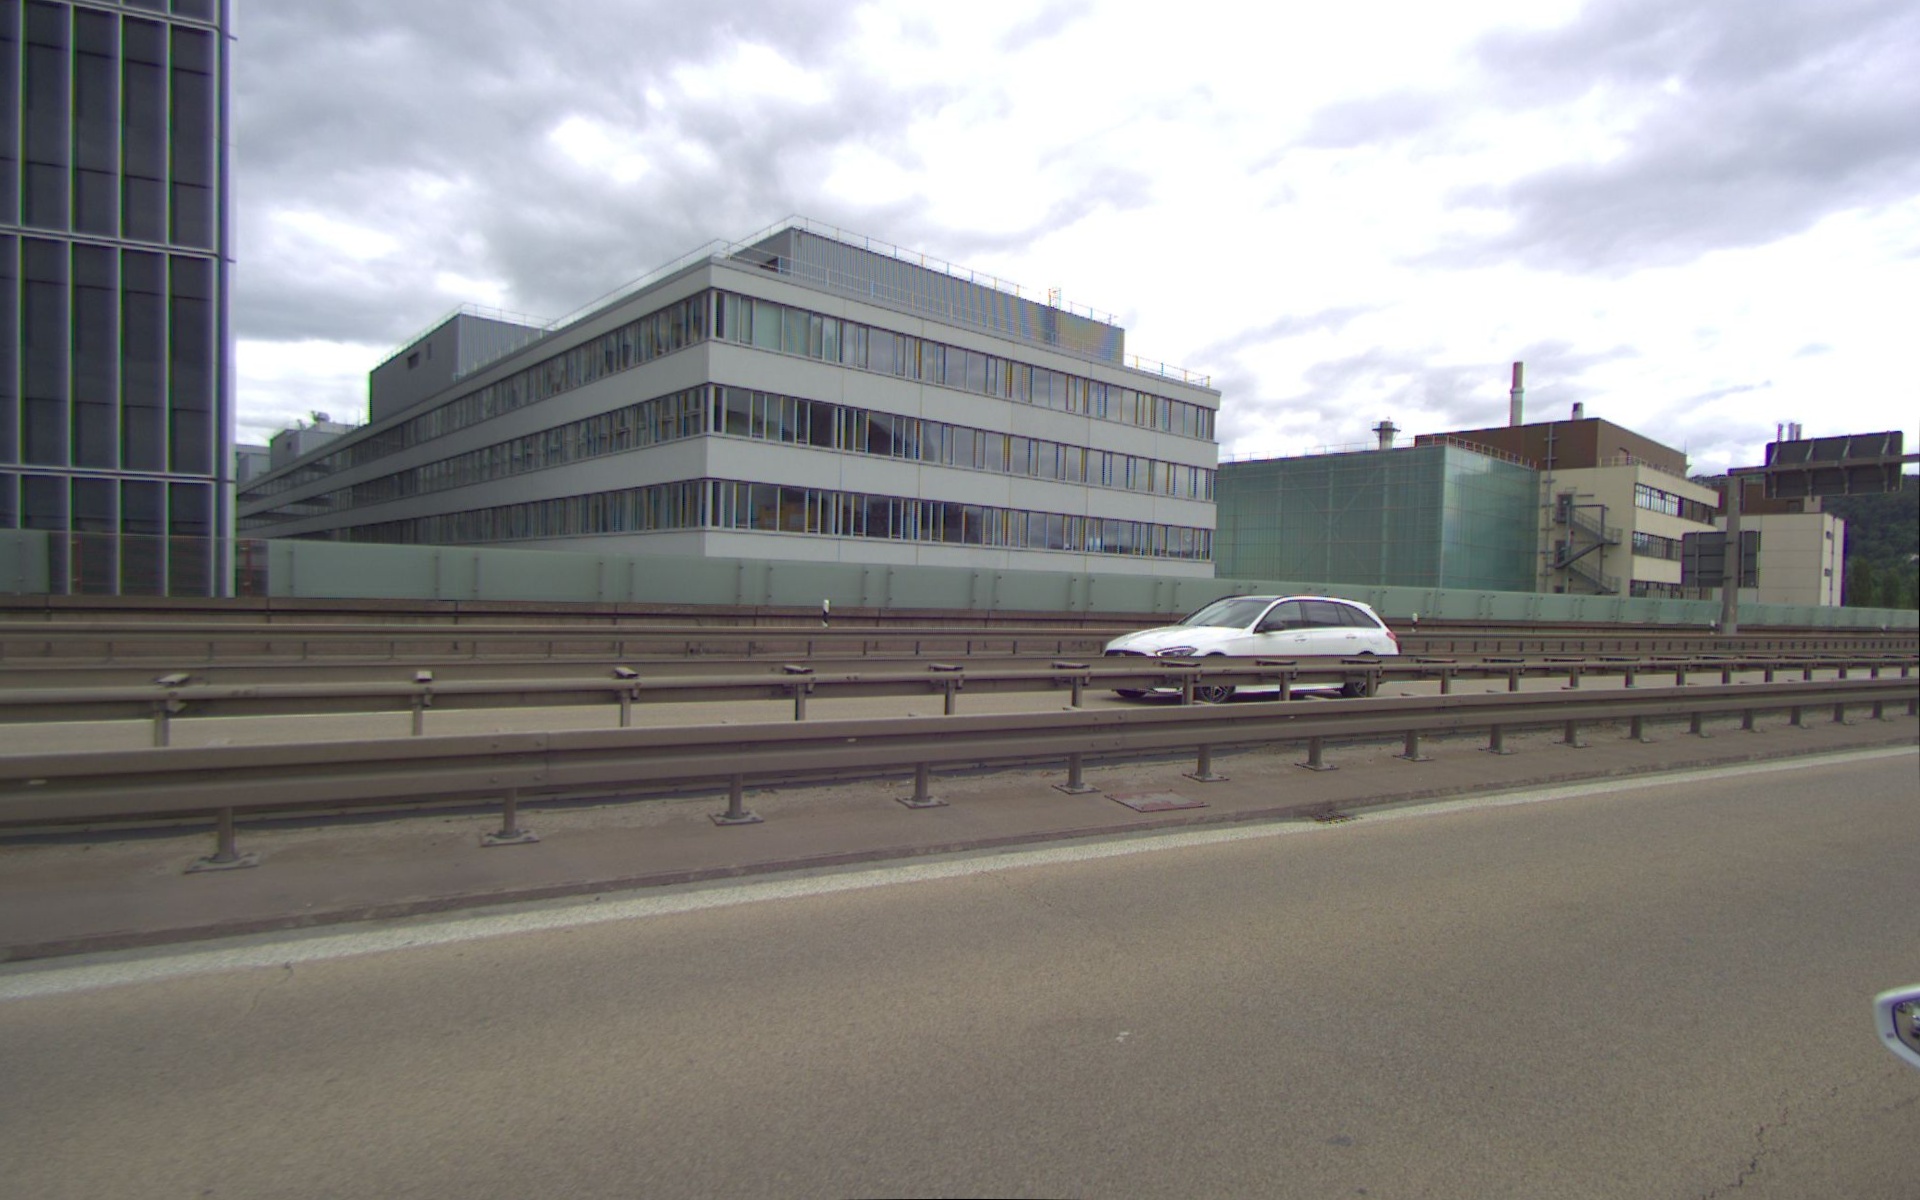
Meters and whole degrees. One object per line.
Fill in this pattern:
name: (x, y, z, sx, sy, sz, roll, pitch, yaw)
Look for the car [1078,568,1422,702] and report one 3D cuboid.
car: (4.177, 0.487, 14.266, 4.752, 1.627, 1.983, 2, -1, -31)
